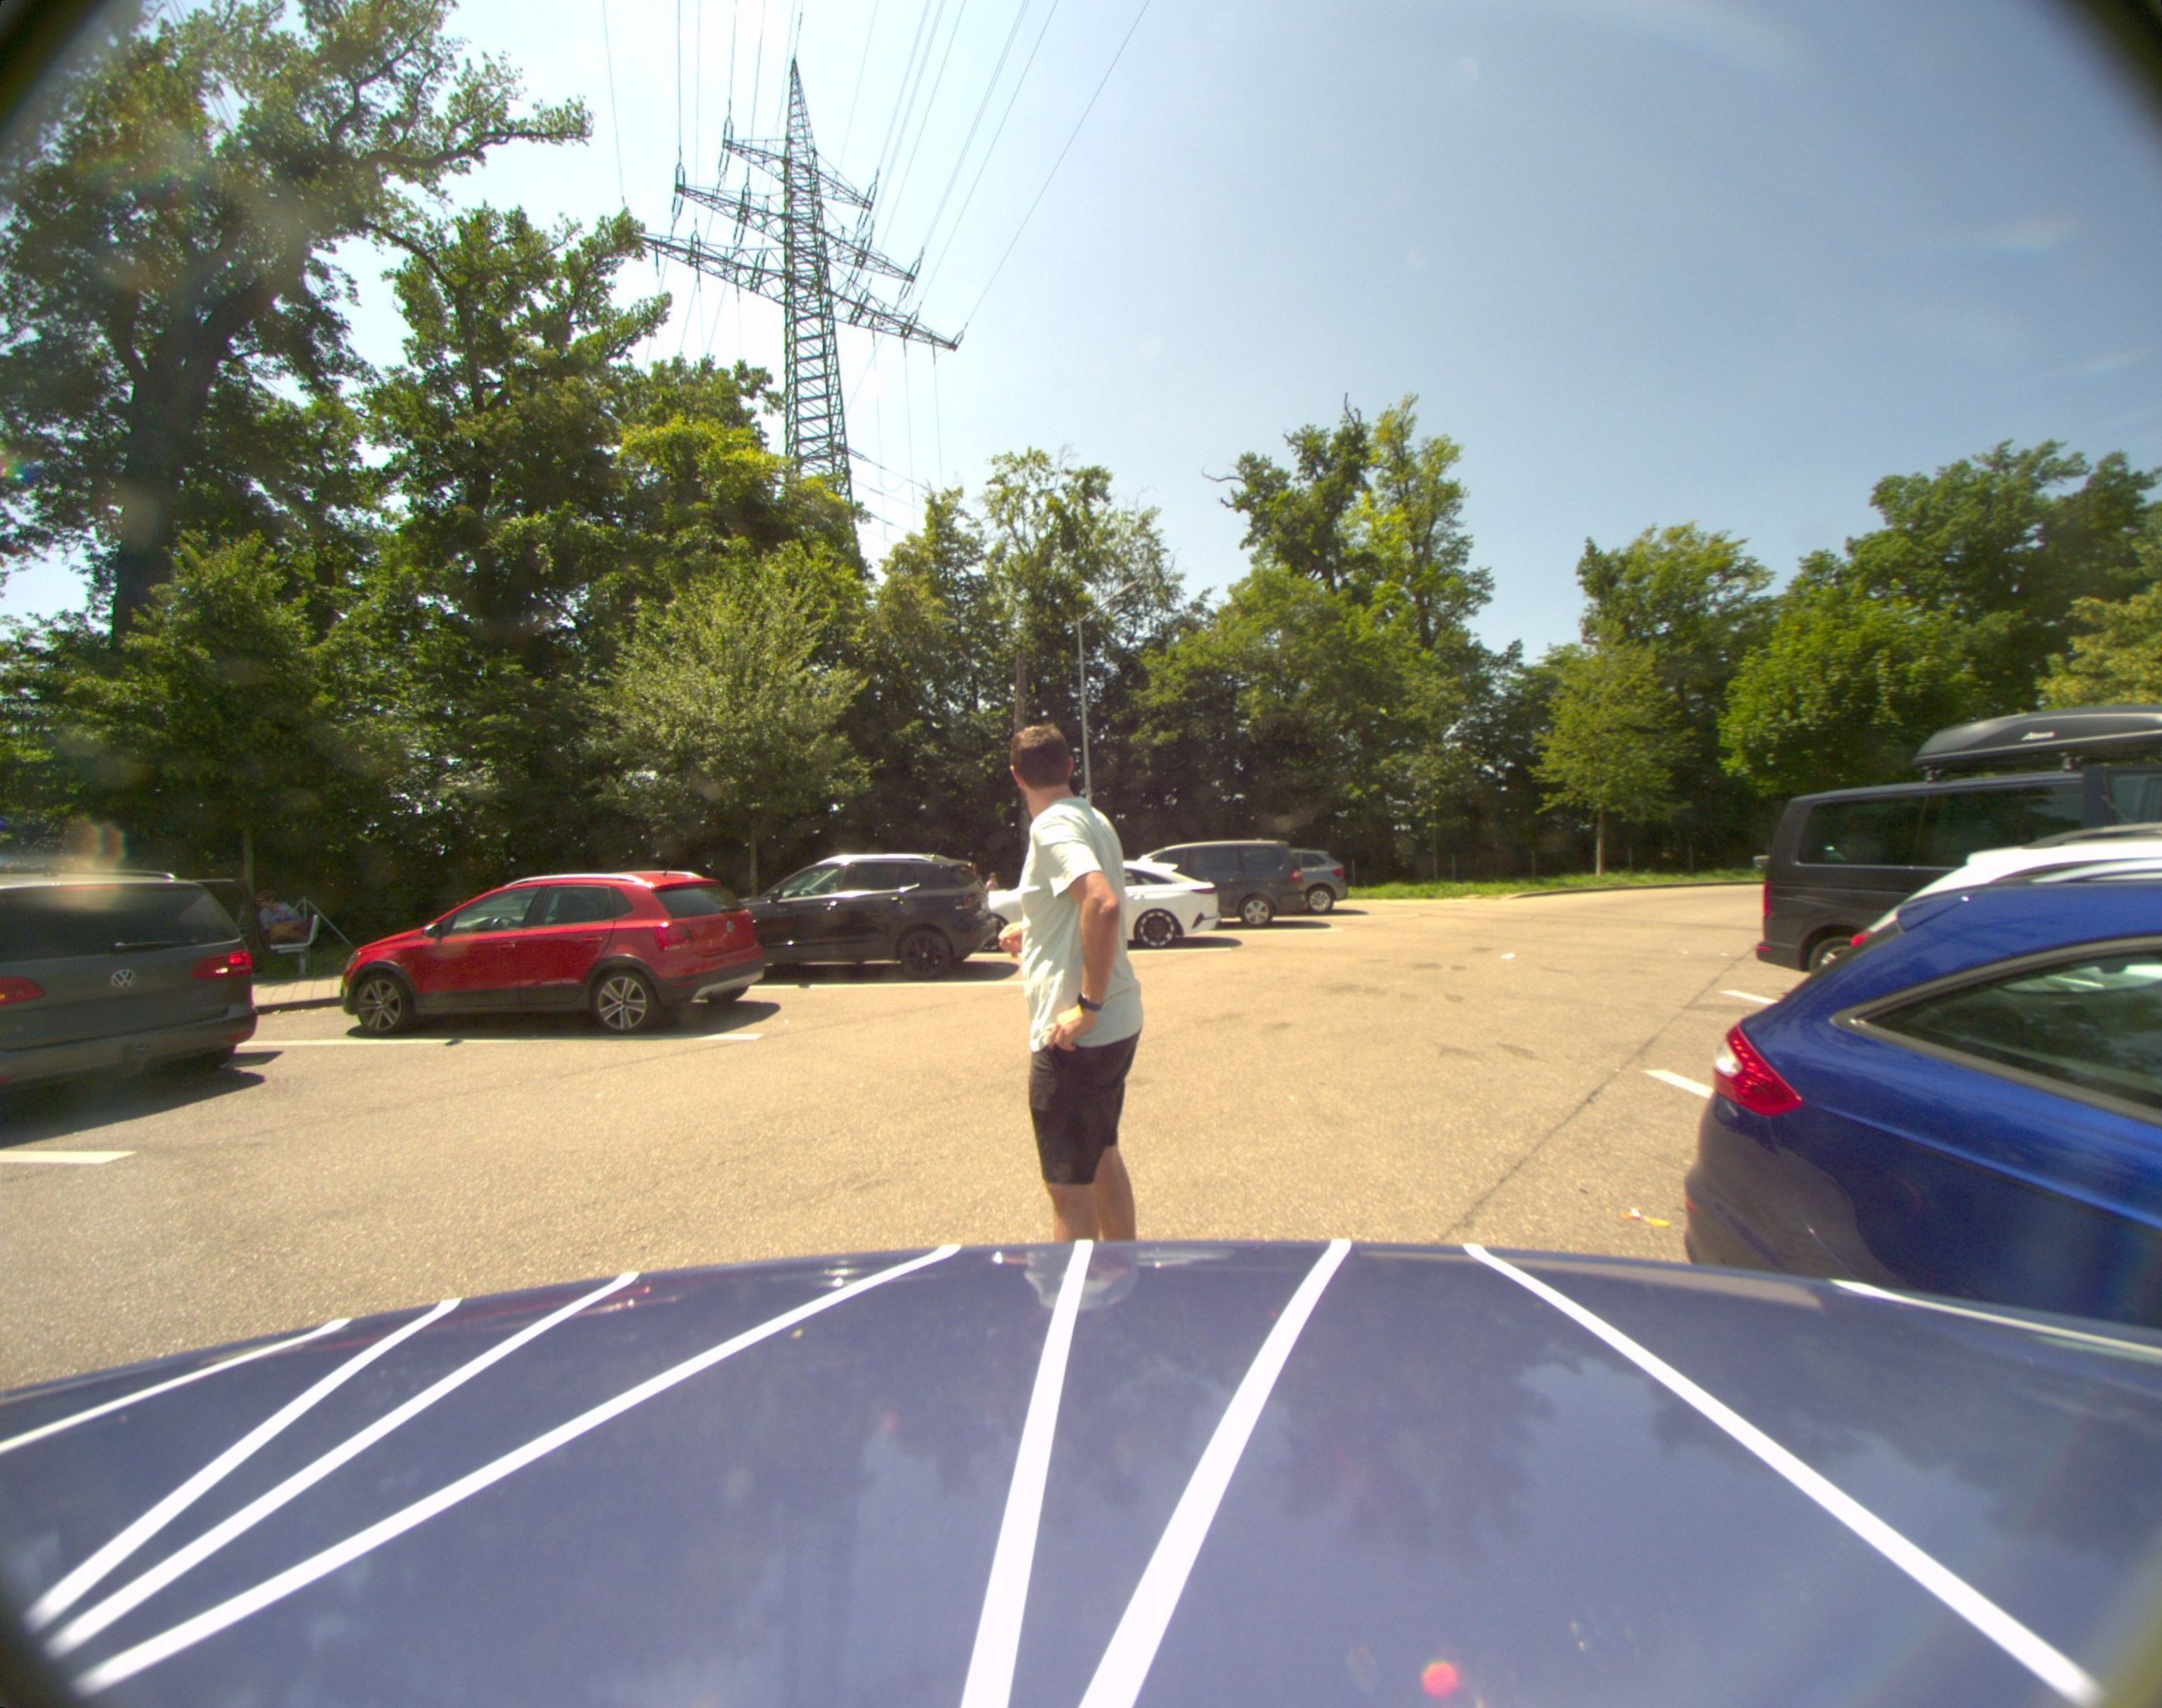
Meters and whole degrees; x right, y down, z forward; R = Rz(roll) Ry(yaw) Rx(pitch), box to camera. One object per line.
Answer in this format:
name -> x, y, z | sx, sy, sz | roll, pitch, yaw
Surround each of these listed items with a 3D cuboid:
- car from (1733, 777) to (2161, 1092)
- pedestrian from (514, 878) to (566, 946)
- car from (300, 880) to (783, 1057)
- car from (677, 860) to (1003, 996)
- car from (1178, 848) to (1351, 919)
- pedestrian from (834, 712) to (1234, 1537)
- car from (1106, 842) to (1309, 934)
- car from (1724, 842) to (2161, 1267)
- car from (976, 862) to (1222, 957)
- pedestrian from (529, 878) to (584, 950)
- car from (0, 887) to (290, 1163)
car -> 7.306, 0.433, 4.922 | 1.961, 1.858, 4.642 | -3, -1, -3
pedestrian -> -10.913, 1.156, 15.314 | 0.782, 1.287, 0.670 | -1, 2, 45
car -> -5.254, 1.060, 7.659 | 3.785, 1.457, 1.722 | -1, 1, 9
car -> -3.081, 0.931, 10.270 | 3.787, 1.564, 1.721 | -1, 1, 2
car -> 4.324, 0.685, 18.164 | 3.818, 1.530, 1.722 | -1, 1, 12
pedestrian -> -0.112, 0.596, 2.201 | 0.892, 1.831, 0.620 | -3, 2, -42
car -> 2.572, 0.662, 15.461 | 3.818, 1.714, 1.722 | -1, 1, 12
car -> 4.859, 0.721, 2.293 | 1.741, 1.524, 4.642 | -3, -1, -2
car -> 0.349, 0.894, 12.736 | 3.819, 1.377, 1.722 | -1, 1, 6
pedestrian -> -10.032, 1.130, 14.526 | 0.782, 1.287, 0.670 | -1, 2, 45
car -> -8.306, 1.100, 5.449 | 3.985, 1.572, 1.749 | -1, 1, 12
